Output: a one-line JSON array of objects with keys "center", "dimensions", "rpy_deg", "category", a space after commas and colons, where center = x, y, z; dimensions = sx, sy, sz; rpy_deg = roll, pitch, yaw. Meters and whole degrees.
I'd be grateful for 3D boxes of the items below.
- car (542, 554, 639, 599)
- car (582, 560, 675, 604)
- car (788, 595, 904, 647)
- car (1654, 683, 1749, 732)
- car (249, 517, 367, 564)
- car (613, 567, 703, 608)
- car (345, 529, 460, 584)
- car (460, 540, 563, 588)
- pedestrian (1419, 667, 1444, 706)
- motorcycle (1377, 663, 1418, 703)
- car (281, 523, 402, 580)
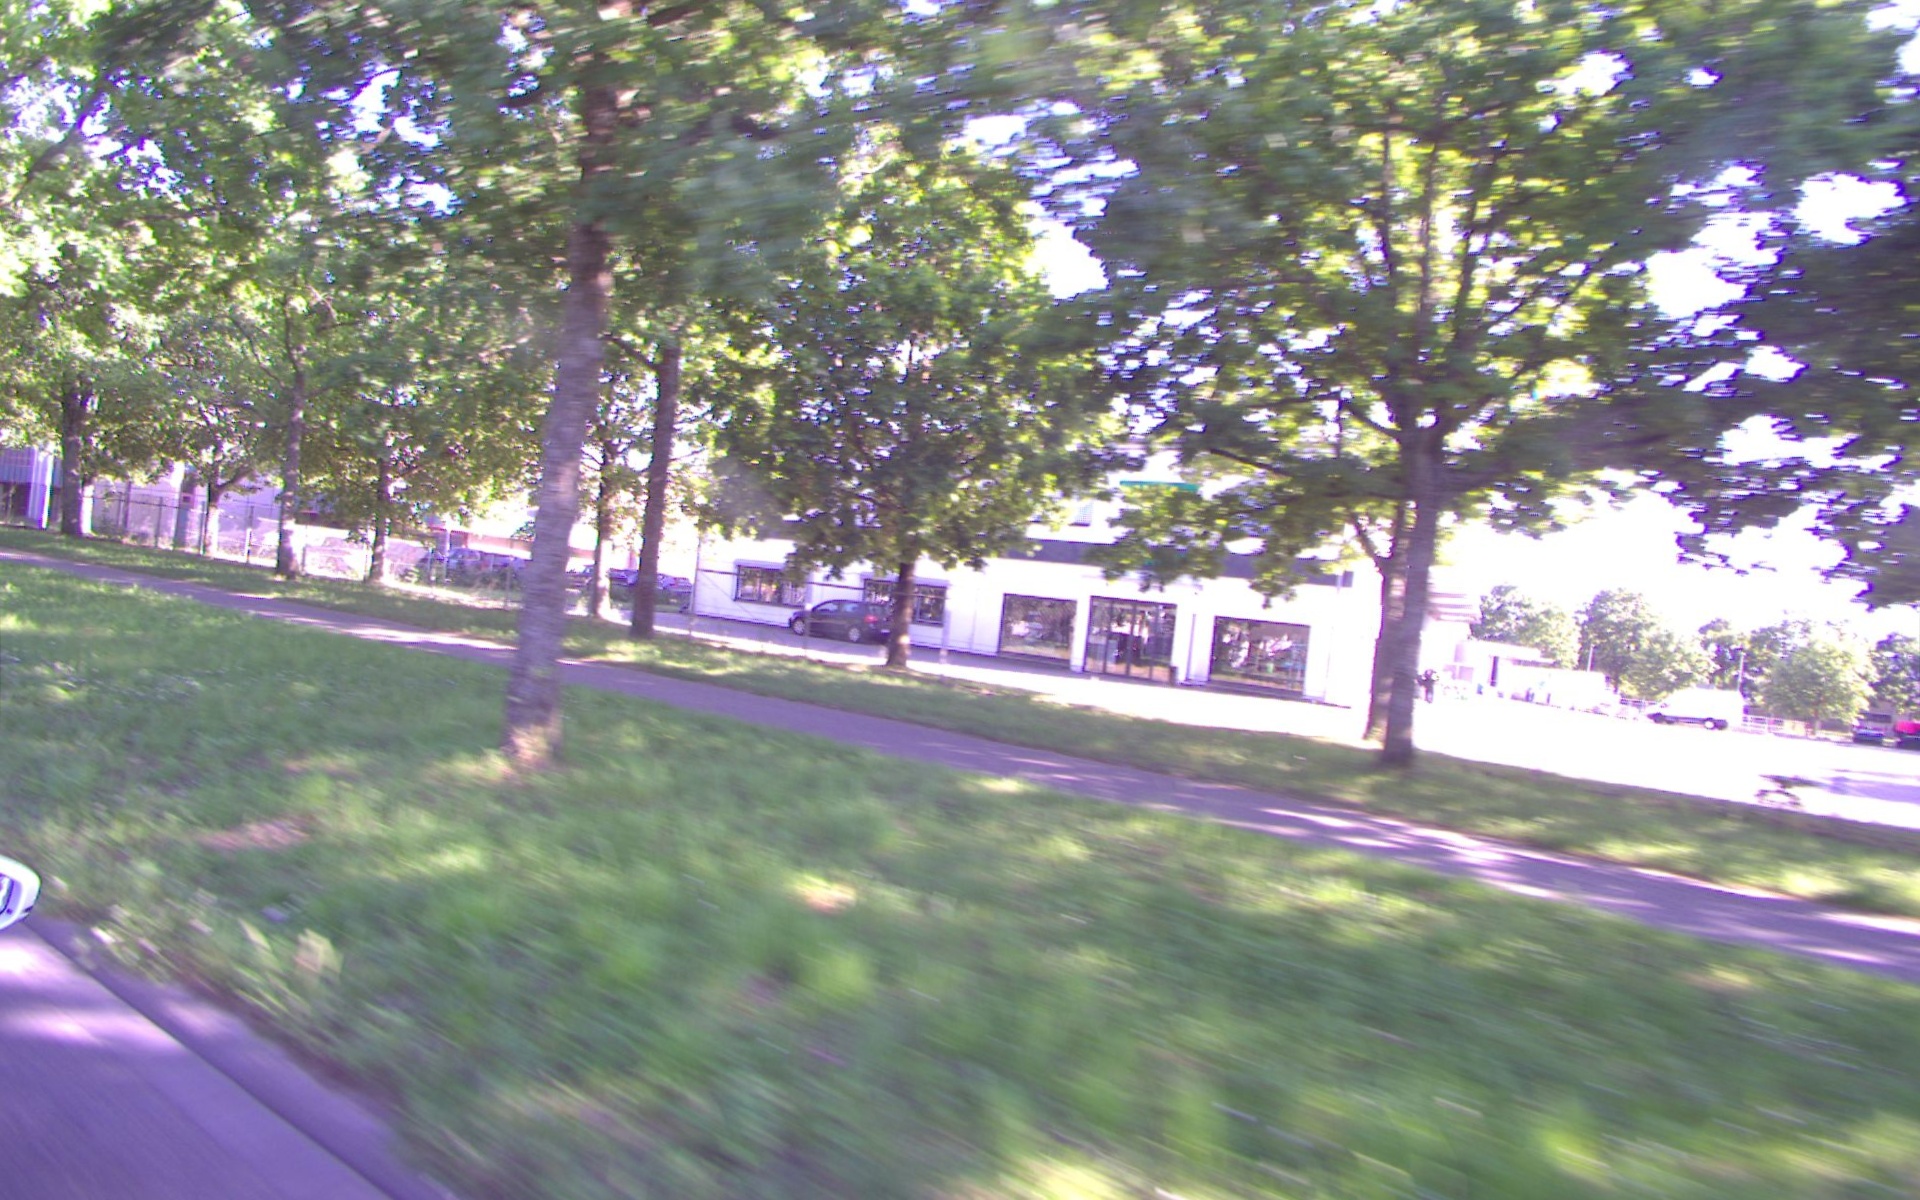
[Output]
[{"center": [-19.415, -1.244, 52.850], "dimensions": [4.562, 1.766, 2.188], "rpy_deg": [7, 0, 29], "category": "car"}, {"center": [-18.118, -0.984, 54.911], "dimensions": [4.562, 1.766, 2.188], "rpy_deg": [7, 0, 29], "category": "car"}, {"center": [-4.096, 0.755, 36.219], "dimensions": [3.703, 1.401, 1.768], "rpy_deg": [7, 0, 29], "category": "car"}, {"center": [52.746, 7.601, 71.670], "dimensions": [2.143, 2.731, 4.815], "rpy_deg": [7, 0, -29], "category": "car"}, {"center": [-34.185, -3.097, 52.887], "dimensions": [2.152, 1.765, 4.638], "rpy_deg": [7, 0, 25], "category": "car"}, {"center": [-17.117, -0.708, 57.049], "dimensions": [4.562, 1.766, 2.188], "rpy_deg": [7, 0, 29], "category": "car"}, {"center": [-24.180, -1.887, 43.592], "dimensions": [4.562, 1.766, 2.188], "rpy_deg": [7, 0, 29], "category": "car"}, {"center": [-21.748, -1.757, 48.762], "dimensions": [4.562, 1.766, 2.188], "rpy_deg": [7, 0, 29], "category": "car"}, {"center": [18.845, 3.444, 40.225], "dimensions": [0.708, 1.451, 0.748], "rpy_deg": [7, 1, 31], "category": "pedestrian"}, {"center": [17.535, 3.347, 40.264], "dimensions": [1.978, 1.450, 0.649], "rpy_deg": [7, 0, -44], "category": "motorcycle"}, {"center": [-25.532, -1.999, 41.528], "dimensions": [4.562, 1.766, 2.188], "rpy_deg": [7, 0, 29], "category": "car"}]
